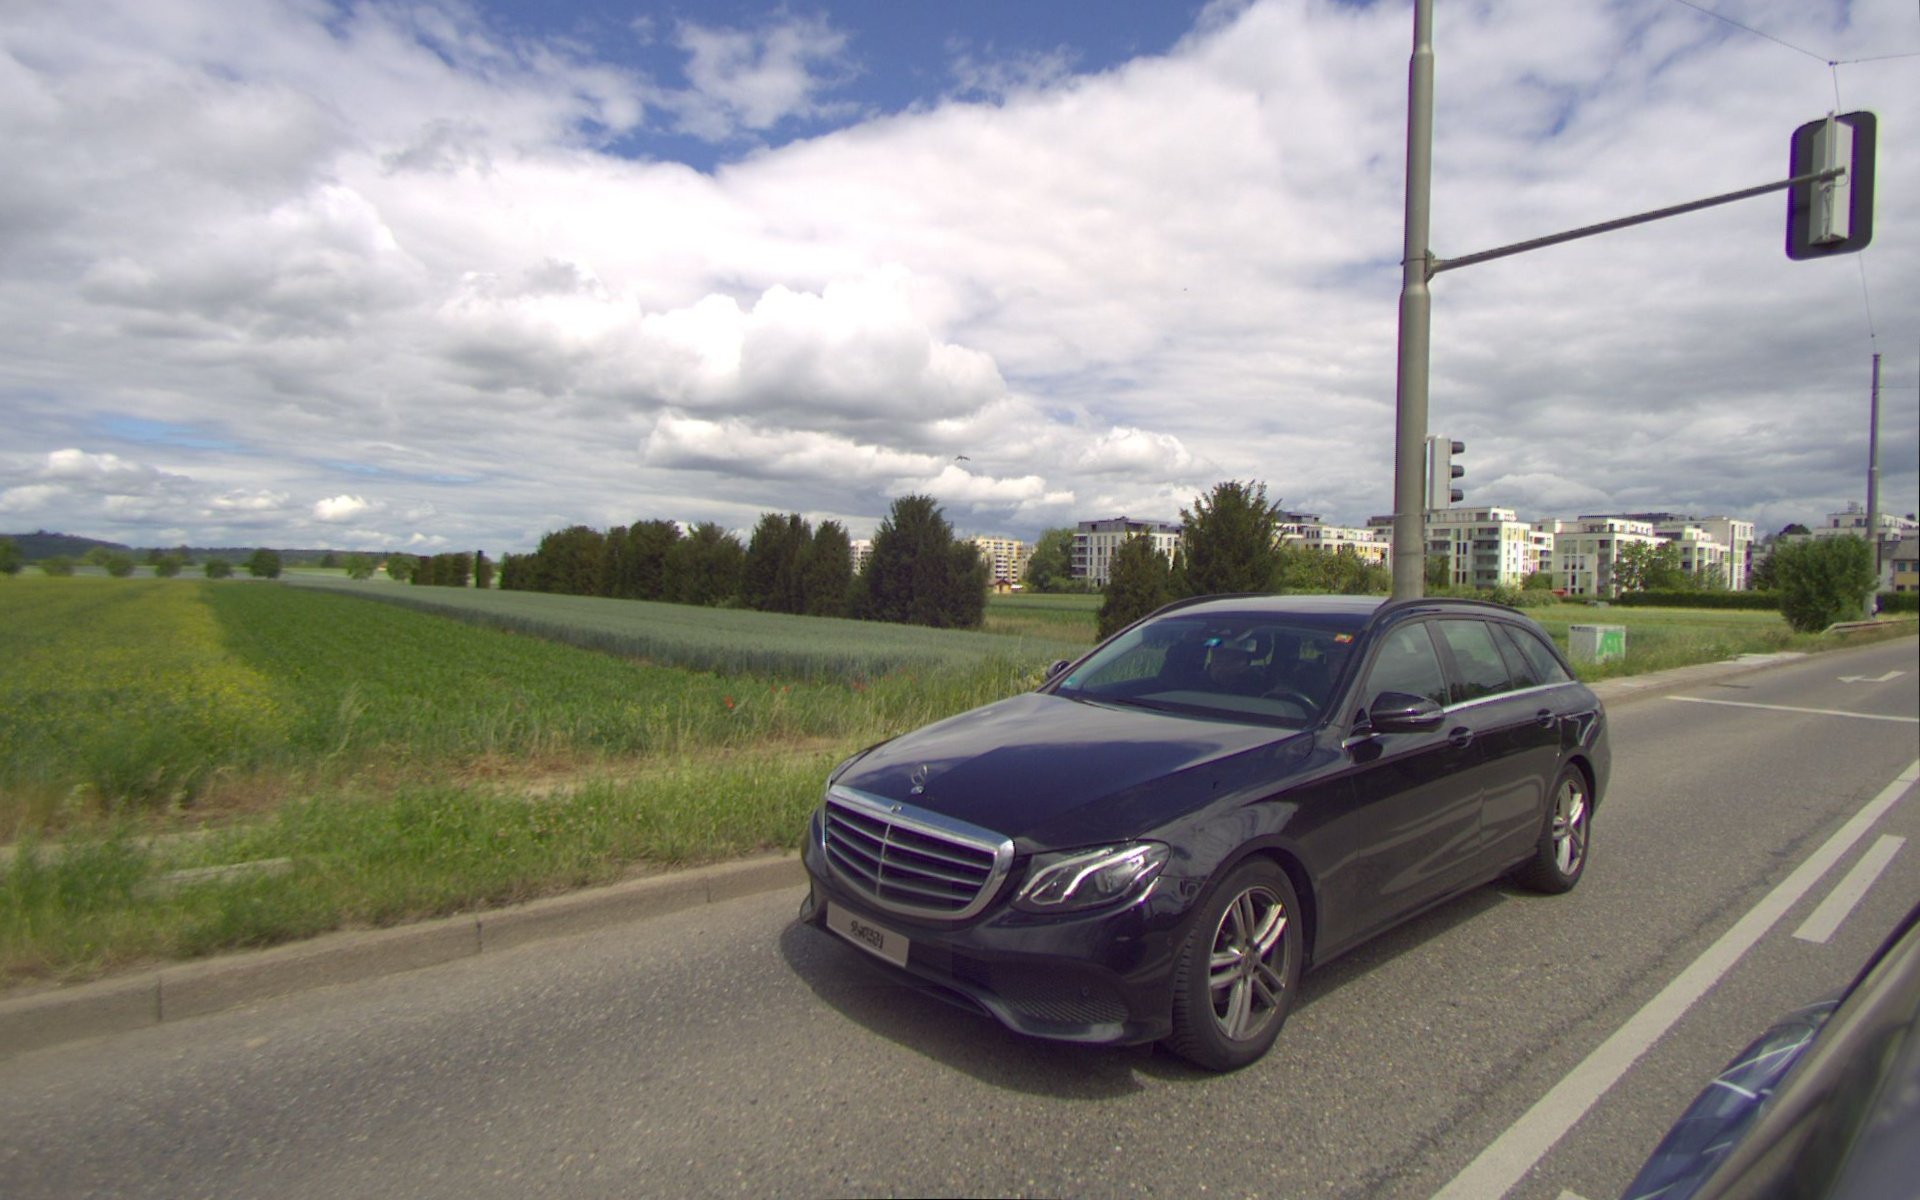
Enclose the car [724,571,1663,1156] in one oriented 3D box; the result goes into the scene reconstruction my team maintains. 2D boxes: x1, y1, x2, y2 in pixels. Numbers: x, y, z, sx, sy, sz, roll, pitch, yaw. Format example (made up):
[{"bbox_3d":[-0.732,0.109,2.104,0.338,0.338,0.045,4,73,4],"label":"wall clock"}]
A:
[{"bbox_3d":[1.603,0.643,4.959,5.110,1.458,1.876,0,2,-42],"label":"car"}]
